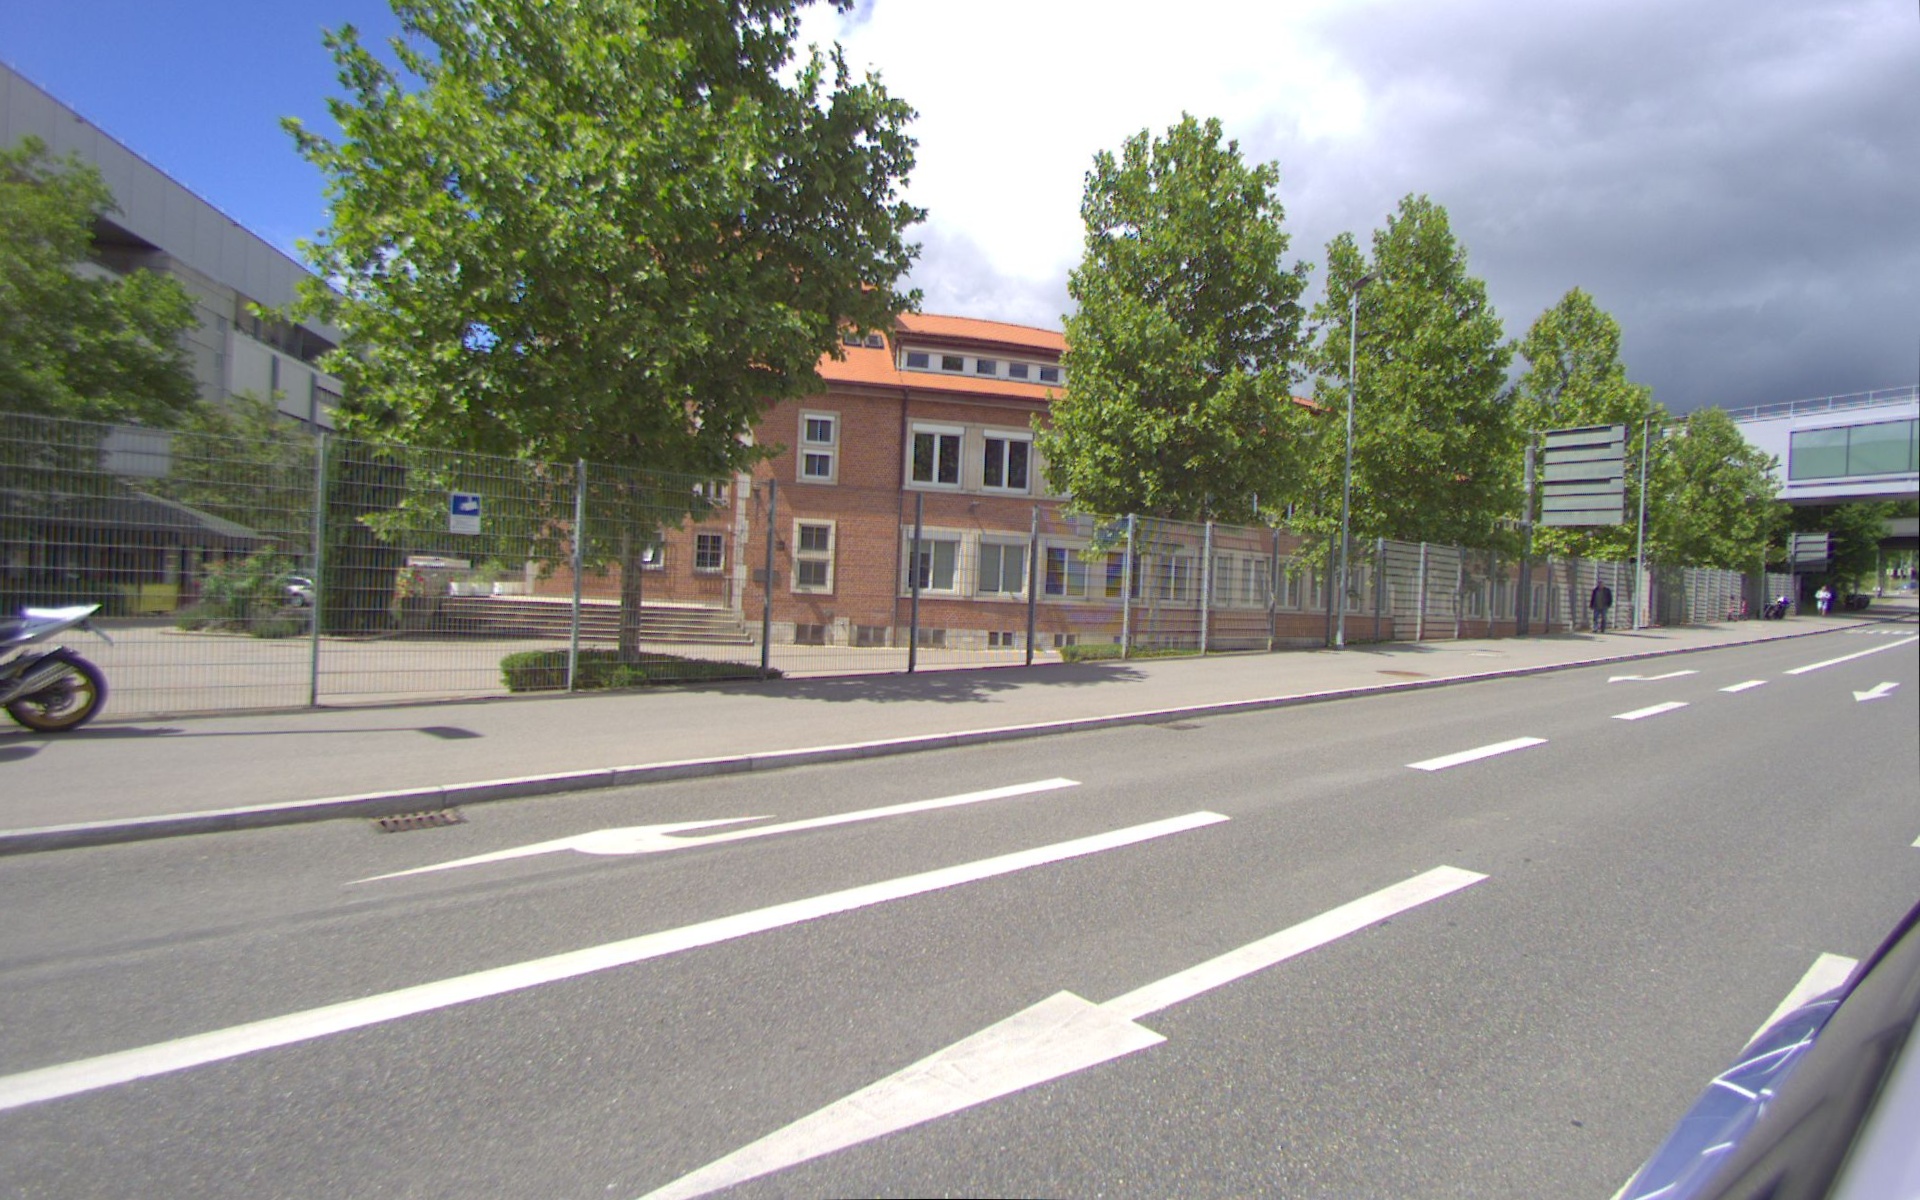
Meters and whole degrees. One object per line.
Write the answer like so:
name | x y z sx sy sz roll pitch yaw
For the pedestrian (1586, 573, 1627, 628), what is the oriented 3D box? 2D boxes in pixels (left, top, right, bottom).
pedestrian | 21.765 0.012 34.077 0.924 1.764 0.879 0 3 -42

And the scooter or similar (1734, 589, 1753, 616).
scooter or similar | 39.005 0.093 50.379 1.314 1.310 0.492 0 3 -42

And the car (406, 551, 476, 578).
car | -35.907 -2.453 70.161 3.916 1.805 2.004 -1 1 -13

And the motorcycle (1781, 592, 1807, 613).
motorcycle | 46.848 0.124 56.820 2.467 1.077 0.709 -1 4 -43

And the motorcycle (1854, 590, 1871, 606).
motorcycle | 68.227 -0.125 76.519 2.076 1.168 0.679 0 2 -41

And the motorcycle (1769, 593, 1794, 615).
motorcycle | 44.515 0.200 54.816 2.209 1.077 0.669 0 4 -43

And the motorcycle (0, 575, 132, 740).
motorcycle | -7.393 0.412 7.322 0.693 1.172 2.113 4 3 44

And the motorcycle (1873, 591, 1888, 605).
motorcycle | 73.093 -0.146 80.351 2.144 1.096 0.679 -1 2 -43

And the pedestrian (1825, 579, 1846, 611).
pedestrian | 53.818 -0.337 62.230 1.078 1.911 0.790 0 2 -43
